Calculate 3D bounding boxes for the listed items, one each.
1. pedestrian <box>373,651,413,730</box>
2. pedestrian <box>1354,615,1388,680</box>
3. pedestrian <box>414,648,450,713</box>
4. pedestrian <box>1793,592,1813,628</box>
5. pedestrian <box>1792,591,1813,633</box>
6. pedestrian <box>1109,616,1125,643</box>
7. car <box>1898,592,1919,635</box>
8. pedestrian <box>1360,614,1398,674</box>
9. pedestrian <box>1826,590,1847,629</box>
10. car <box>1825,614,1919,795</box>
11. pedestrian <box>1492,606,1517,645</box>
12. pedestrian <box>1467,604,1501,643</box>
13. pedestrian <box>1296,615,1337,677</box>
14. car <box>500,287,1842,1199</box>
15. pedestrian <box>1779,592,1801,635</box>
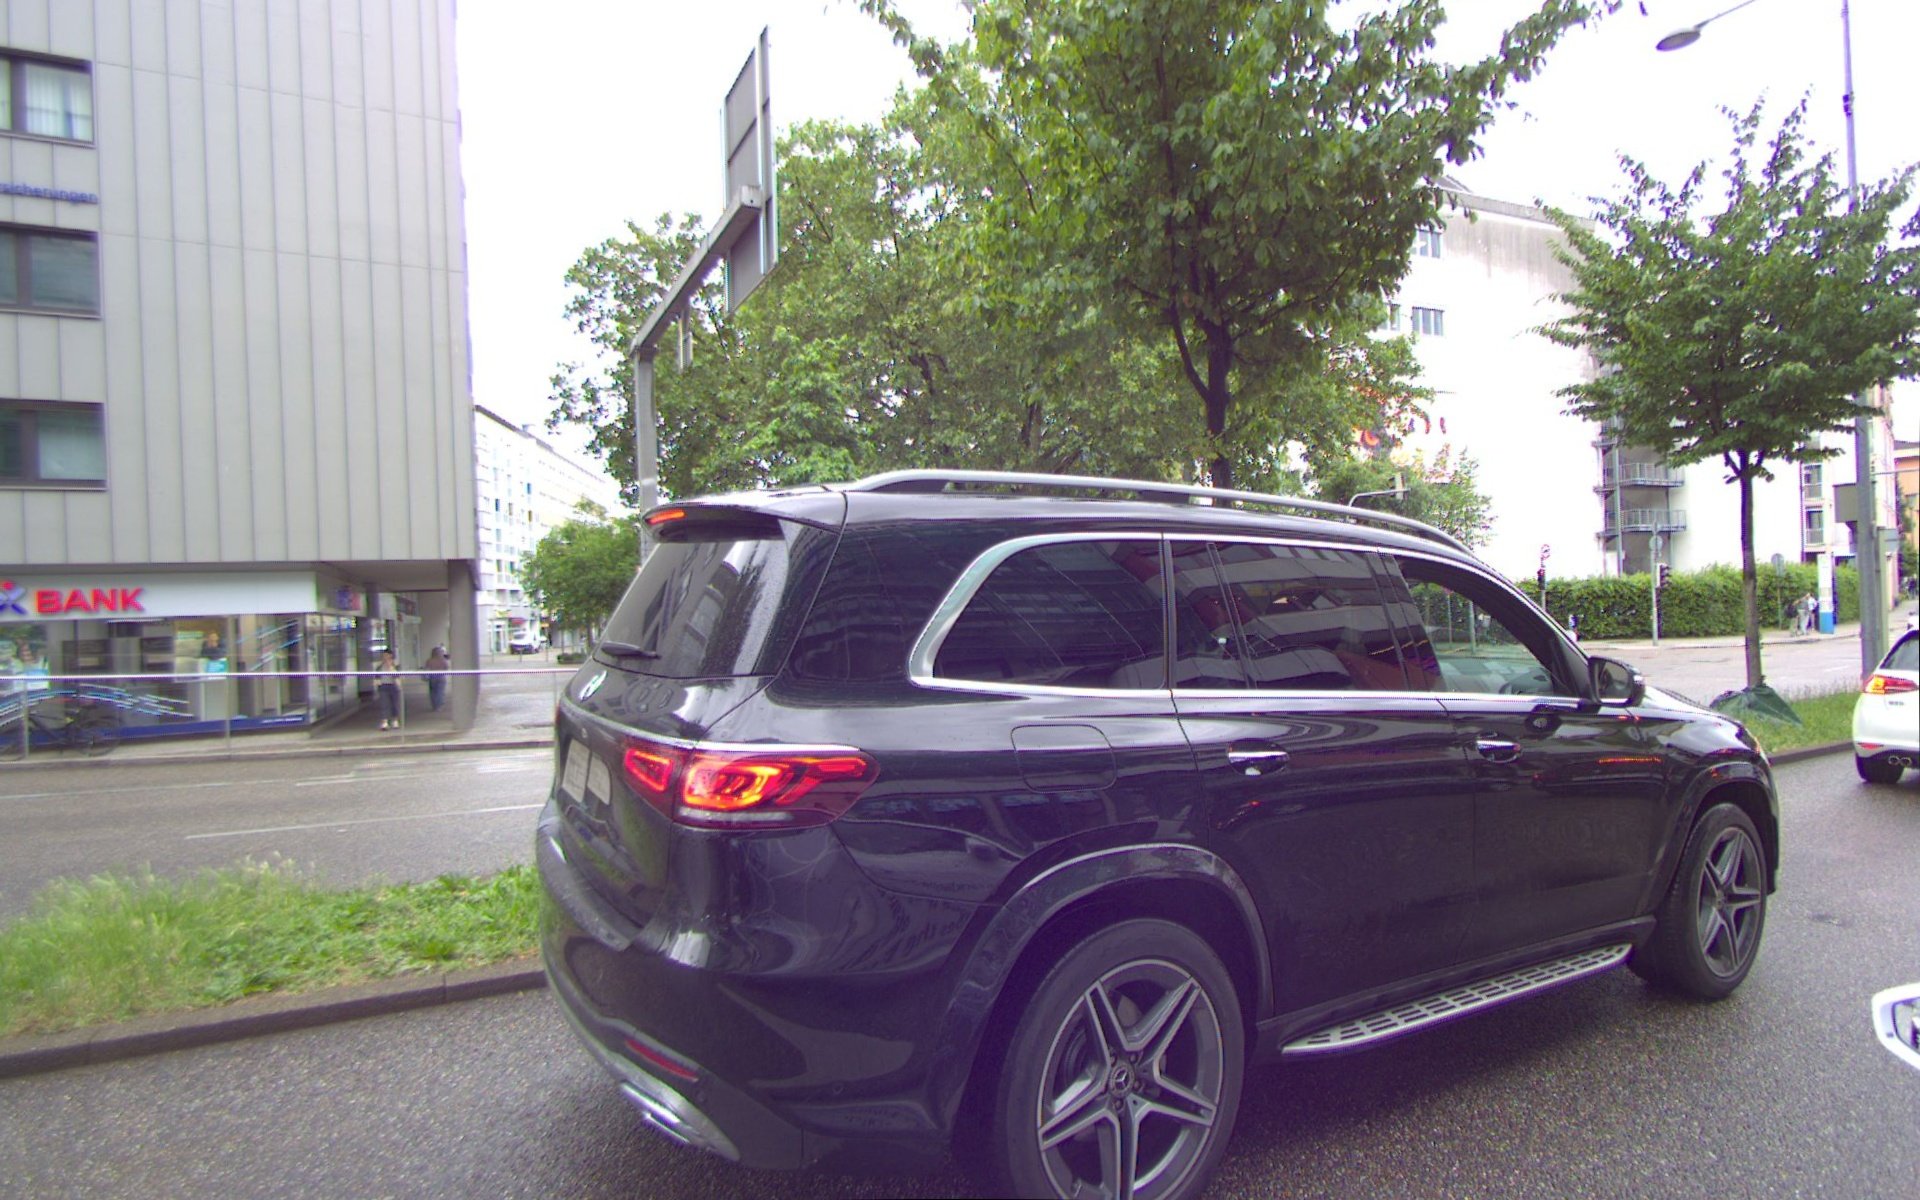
[{"bbox_3d":[-12.567,1.989,22.261,0.630,1.659,0.782,2,-1,-37],"label":"pedestrian"},{"bbox_3d":[10.799,1.235,26.396,0.572,1.684,0.554,-2,0,-30],"label":"pedestrian"},{"bbox_3d":[-14.418,2.179,27.412,0.719,1.719,0.782,2,-3,-37],"label":"pedestrian"},{"bbox_3d":[39.021,0.462,46.508,0.522,1.620,0.576,2,-1,-36],"label":"pedestrian"},{"bbox_3d":[36.096,0.524,43.049,0.559,1.771,0.535,2,-1,-35],"label":"pedestrian"},{"bbox_3d":[9.830,1.839,63.055,0.723,1.664,0.635,2,0,-23],"label":"pedestrian"},{"bbox_3d":[35.060,0.463,35.808,3.571,1.506,1.565,0,1,-33],"label":"car"},{"bbox_3d":[11.999,1.247,28.751,0.620,1.684,0.749,-2,0,-30],"label":"pedestrian"},{"bbox_3d":[40.055,0.421,45.909,0.651,1.751,0.591,2,-1,-38],"label":"pedestrian"},{"bbox_3d":[9.529,0.870,8.957,3.801,1.448,1.767,0,0,-33],"label":"car"},{"bbox_3d":[23.484,1.108,43.330,0.633,1.664,0.726,2,-1,-37],"label":"pedestrian"},{"bbox_3d":[22.175,0.981,42.541,0.677,1.599,1.055,2,-1,-34],"label":"pedestrian"},{"bbox_3d":[10.730,1.375,30.271,0.698,1.807,0.922,2,-1,-19],"label":"pedestrian"},{"bbox_3d":[1.135,0.514,3.804,5.016,1.895,1.901,3,-1,-31],"label":"car"},{"bbox_3d":[34.817,0.575,42.151,0.741,1.771,0.535,2,-1,-38],"label":"pedestrian"}]
